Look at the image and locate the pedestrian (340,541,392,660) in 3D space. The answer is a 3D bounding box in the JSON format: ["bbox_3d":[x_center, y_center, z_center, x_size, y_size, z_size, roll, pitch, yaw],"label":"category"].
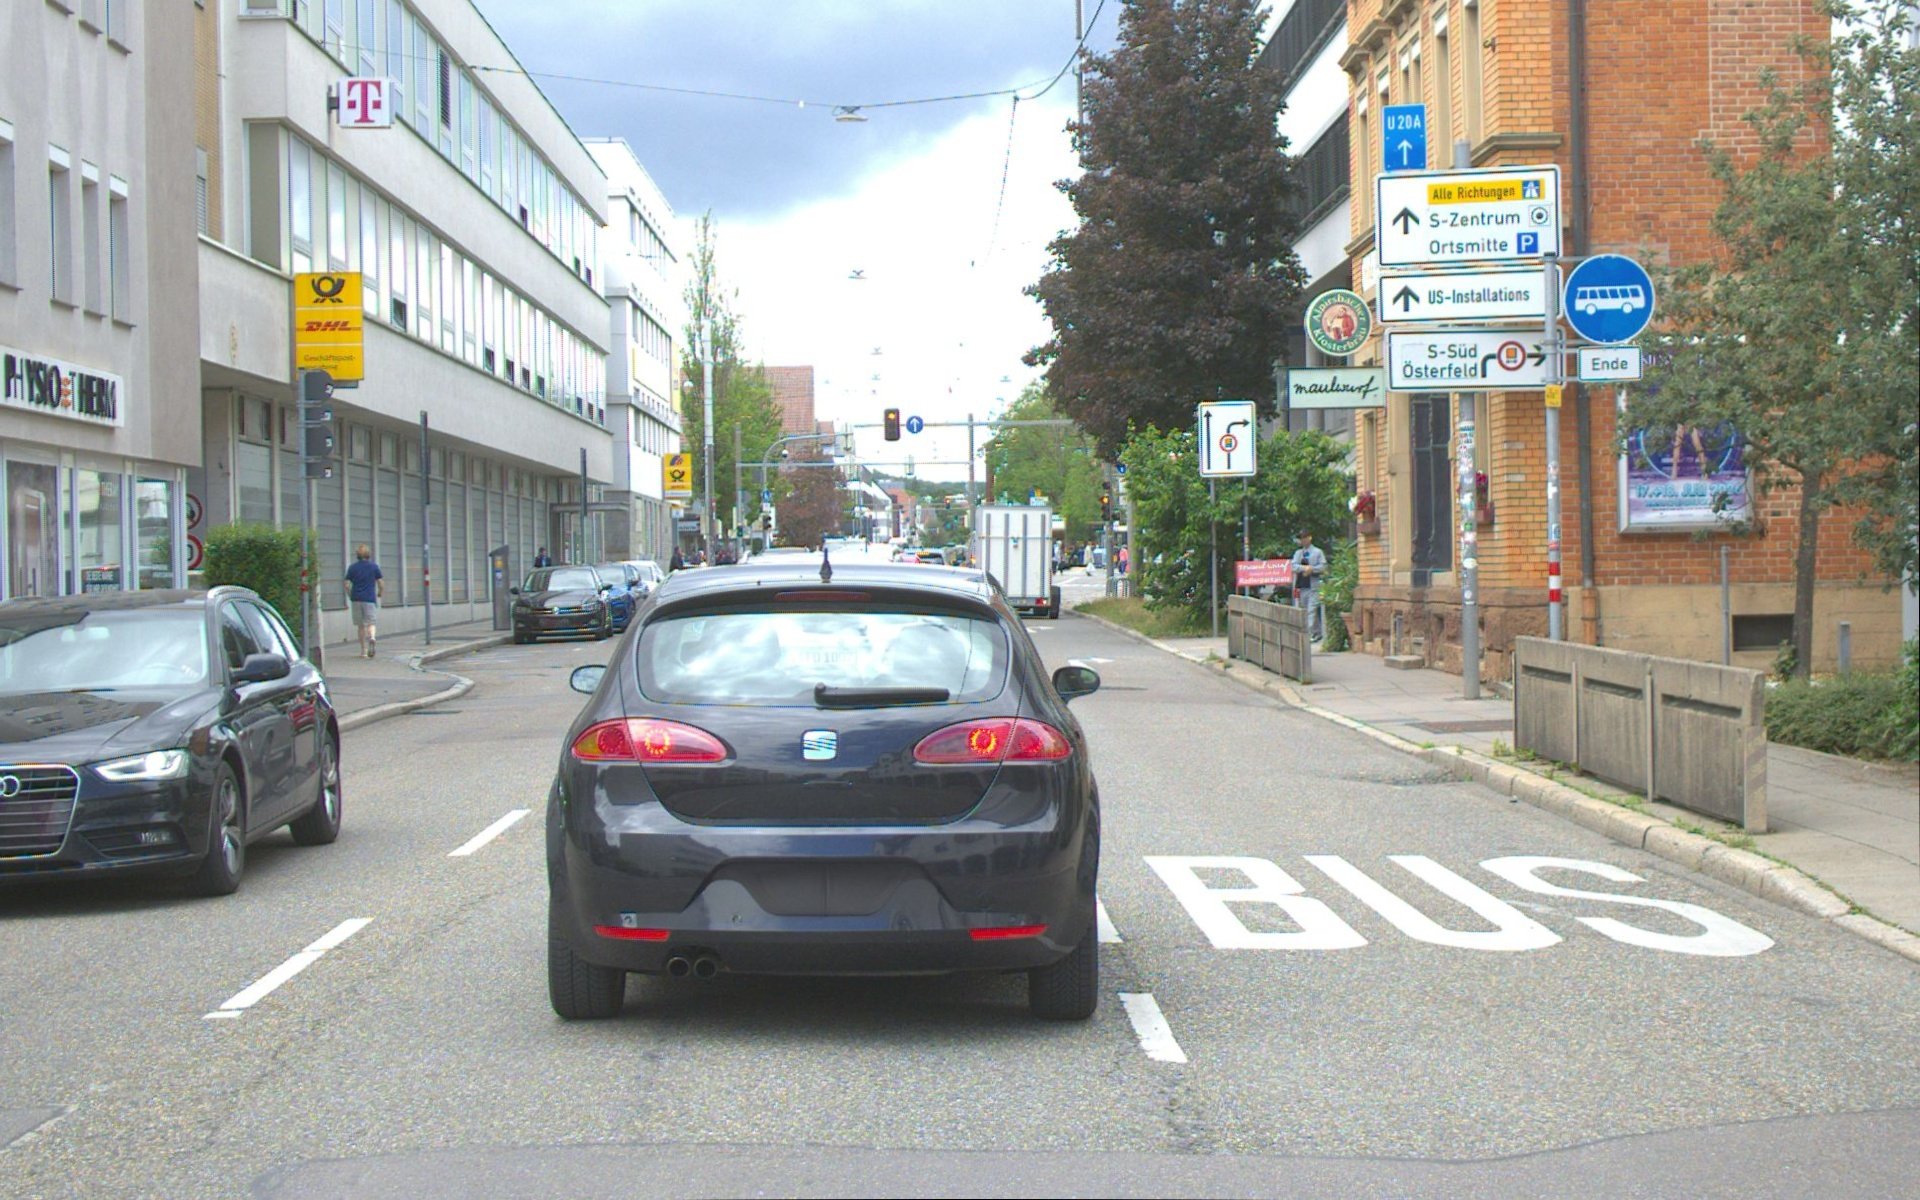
[{"bbox_3d":[-8.951,0.000,51.833,0.642,1.763,0.810,-1,1,-2],"label":"pedestrian"}]

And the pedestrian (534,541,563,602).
[{"bbox_3d":[-10.903,-0.756,91.193,0.656,1.617,0.681,-1,1,1],"label":"pedestrian"}]

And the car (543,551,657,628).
[{"bbox_3d":[-7.472,-0.248,71.709,1.993,1.511,4.175,-1,1,-1],"label":"car"}]

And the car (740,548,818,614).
[{"bbox_3d":[-5.055,-0.564,96.740,1.993,1.733,4.554,-2,1,-1],"label":"car"}]

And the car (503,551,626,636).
[{"bbox_3d":[-7.553,-0.146,66.026,1.912,1.511,4.175,-2,1,-1],"label":"car"}]

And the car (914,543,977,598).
[{"bbox_3d":[-0.446,-0.896,102.593,1.803,1.596,3.738,0,1,-1],"label":"car"}]

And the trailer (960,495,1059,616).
[{"bbox_3d":[1.077,-1.016,77.549,1.993,2.598,5.349,-1,1,-1],"label":"trailer"}]

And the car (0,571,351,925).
[{"bbox_3d":[-4.342,0.657,17.057,1.878,1.446,4.214,-3,1,-1],"label":"car"}]

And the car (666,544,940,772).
[{"bbox_3d":[-1.089,0.355,24.818,1.803,1.487,3.738,-1,1,-1],"label":"car"}]

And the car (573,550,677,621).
[{"bbox_3d":[-7.507,-0.357,77.414,1.993,1.511,4.175,-1,1,-1],"label":"car"}]

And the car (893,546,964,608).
[{"bbox_3d":[-0.835,-0.614,89.988,1.803,1.596,3.738,0,1,-1],"label":"car"}]

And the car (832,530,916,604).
[{"bbox_3d":[-1.896,-0.745,76.091,1.803,1.596,3.738,0,1,-1],"label":"car"}]

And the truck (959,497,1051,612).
[{"bbox_3d":[1.028,-1.070,80.322,1.993,2.598,3.260,-1,1,-1],"label":"truck"}]

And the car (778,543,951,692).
[{"bbox_3d":[-1.055,0.159,38.358,1.803,1.547,3.738,-1,1,-1],"label":"car"}]

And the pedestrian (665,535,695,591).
[{"bbox_3d":[-9.388,-1.234,115.319,0.918,1.862,0.783,-1,1,-1],"label":"pedestrian"}]

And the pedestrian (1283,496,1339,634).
[{"bbox_3d":[5.164,-0.522,50.601,0.693,2.007,0.677,-1,1,-2],"label":"pedestrian"}]

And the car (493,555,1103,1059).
[{"bbox_3d":[-0.493,0.582,11.986,1.765,1.428,3.828,-1,1,-1],"label":"car"}]
